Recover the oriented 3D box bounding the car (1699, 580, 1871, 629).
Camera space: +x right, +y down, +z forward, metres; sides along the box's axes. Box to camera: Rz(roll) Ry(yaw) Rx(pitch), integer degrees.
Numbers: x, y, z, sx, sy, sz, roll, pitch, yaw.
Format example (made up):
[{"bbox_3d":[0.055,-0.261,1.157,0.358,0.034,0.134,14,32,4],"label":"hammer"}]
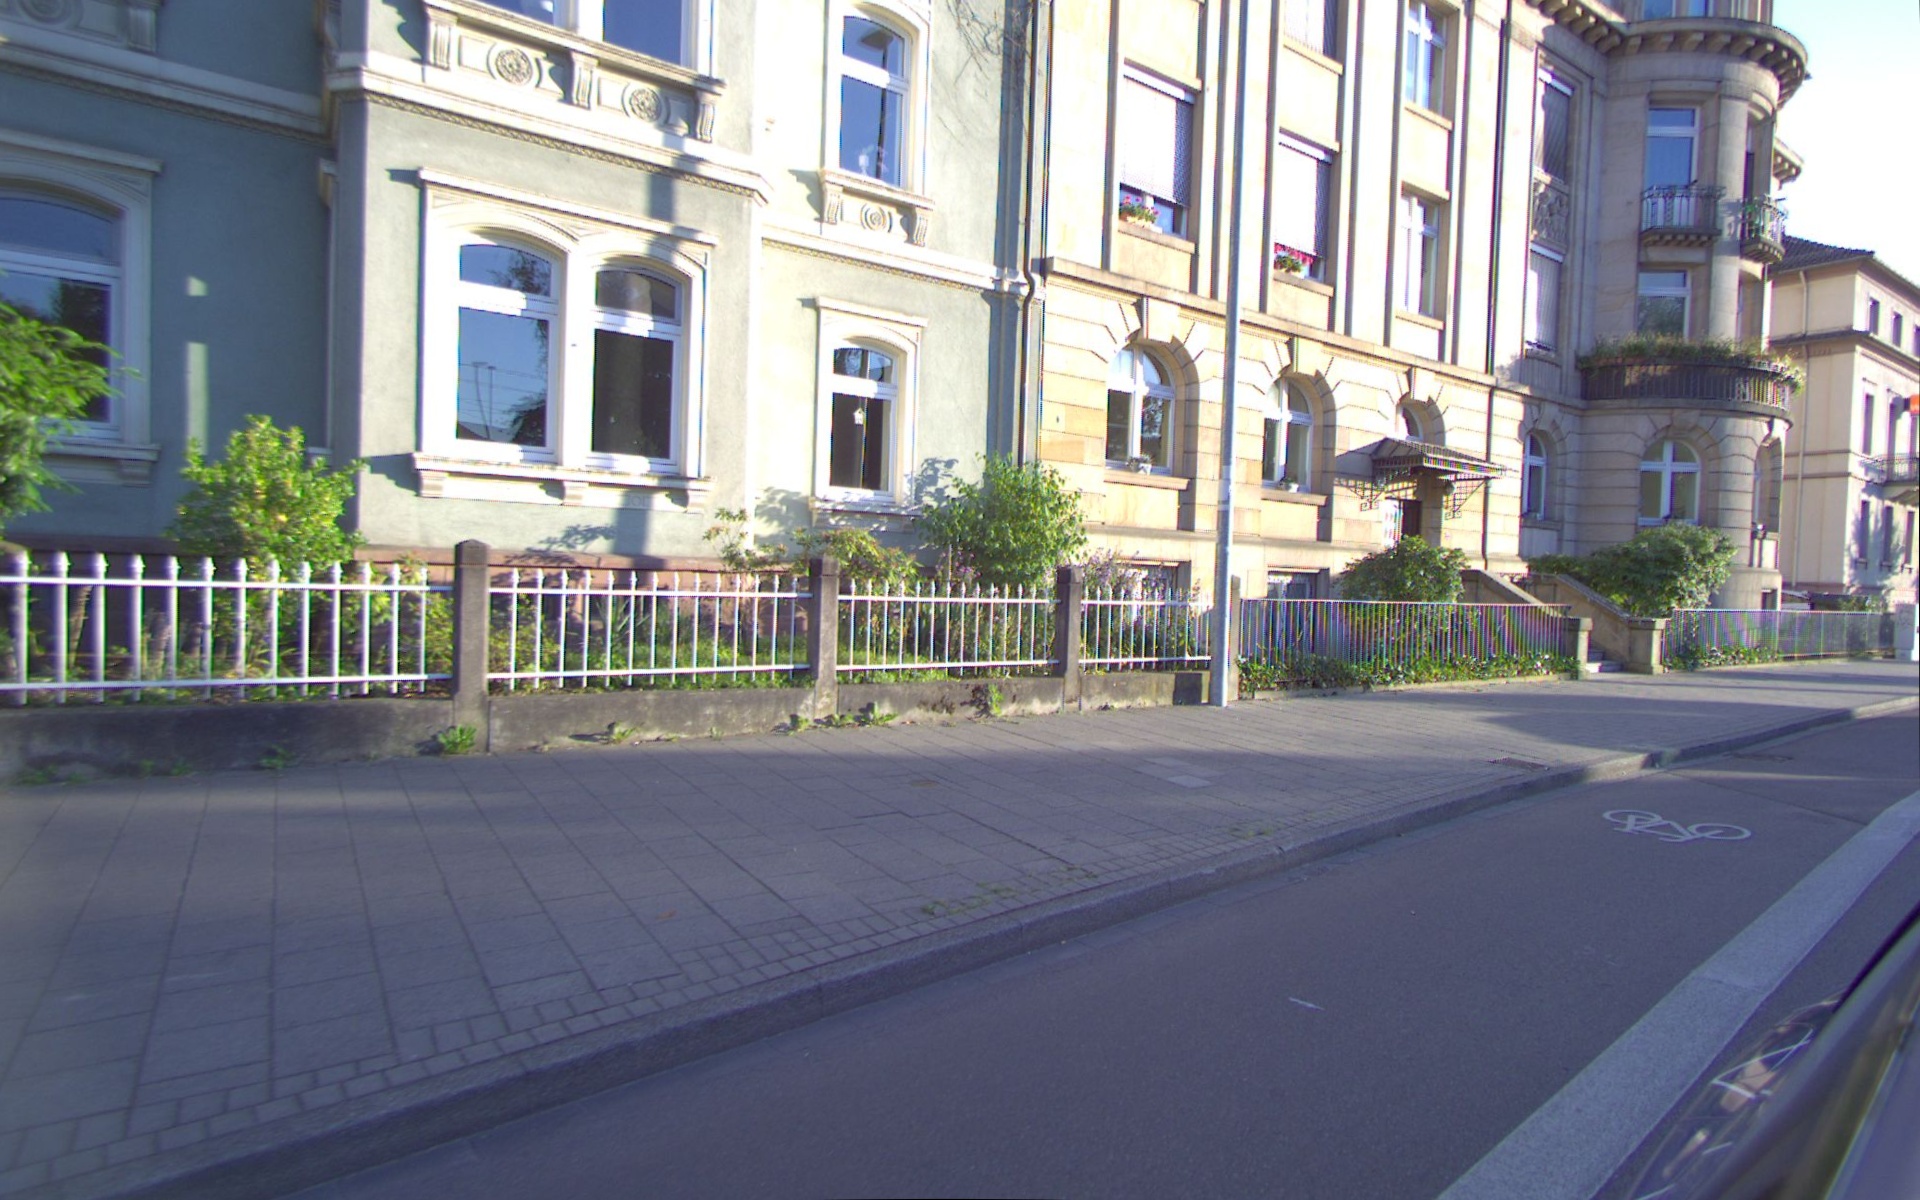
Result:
[{"bbox_3d":[27.683,0.120,34.069,1.901,1.499,4.102,1,1,-34],"label":"car"}]
